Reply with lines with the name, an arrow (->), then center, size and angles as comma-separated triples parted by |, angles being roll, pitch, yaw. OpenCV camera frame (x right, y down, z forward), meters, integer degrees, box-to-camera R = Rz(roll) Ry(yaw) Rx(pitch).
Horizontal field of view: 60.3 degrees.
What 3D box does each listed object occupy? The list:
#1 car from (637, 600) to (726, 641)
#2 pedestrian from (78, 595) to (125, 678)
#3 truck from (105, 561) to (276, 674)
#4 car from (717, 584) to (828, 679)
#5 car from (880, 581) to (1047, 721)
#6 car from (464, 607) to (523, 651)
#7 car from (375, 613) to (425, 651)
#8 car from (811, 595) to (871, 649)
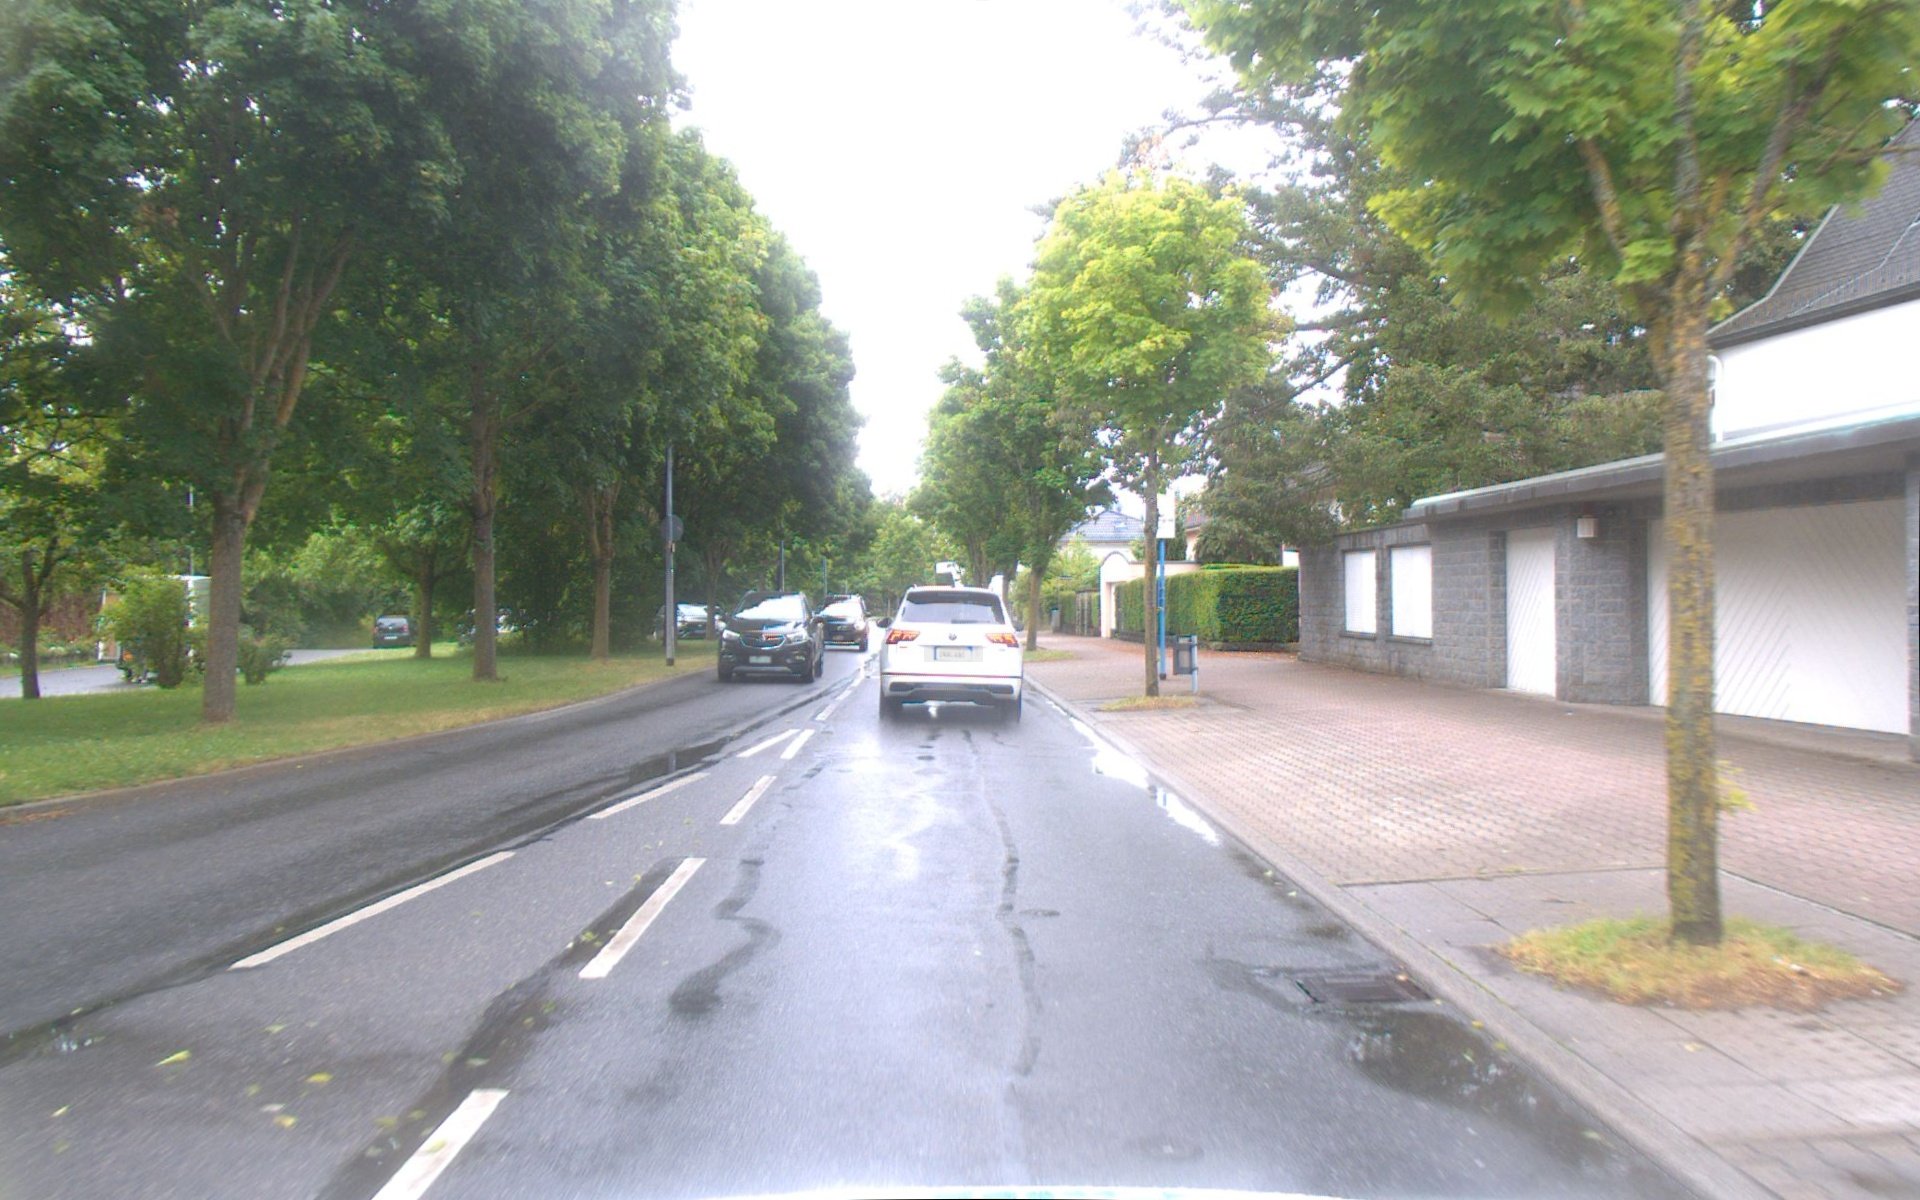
car -> -10.700, 0.786, 63.441 | 1.826, 1.508, 3.950 | -1, 0, -35
pedestrian -> -19.972, 0.839, 38.482 | 0.695, 1.873, 0.823 | -1, 0, -7
truck -> -19.484, 0.410, 42.198 | 2.241, 2.642, 5.864 | -1, 0, -7
car -> -3.489, 0.567, 31.429 | 1.778, 1.677, 3.998 | 0, 0, -2
car -> -0.053, 0.592, 21.703 | 1.957, 1.660, 3.997 | 0, 0, -3
car -> -17.063, 1.026, 60.674 | 1.809, 1.508, 3.987 | -1, 0, -12
car -> -24.171, 1.379, 71.446 | 1.450, 1.557, 3.107 | -1, 0, -8
car -> -3.855, 0.697, 54.155 | 1.720, 1.677, 3.999 | 0, 0, -1
